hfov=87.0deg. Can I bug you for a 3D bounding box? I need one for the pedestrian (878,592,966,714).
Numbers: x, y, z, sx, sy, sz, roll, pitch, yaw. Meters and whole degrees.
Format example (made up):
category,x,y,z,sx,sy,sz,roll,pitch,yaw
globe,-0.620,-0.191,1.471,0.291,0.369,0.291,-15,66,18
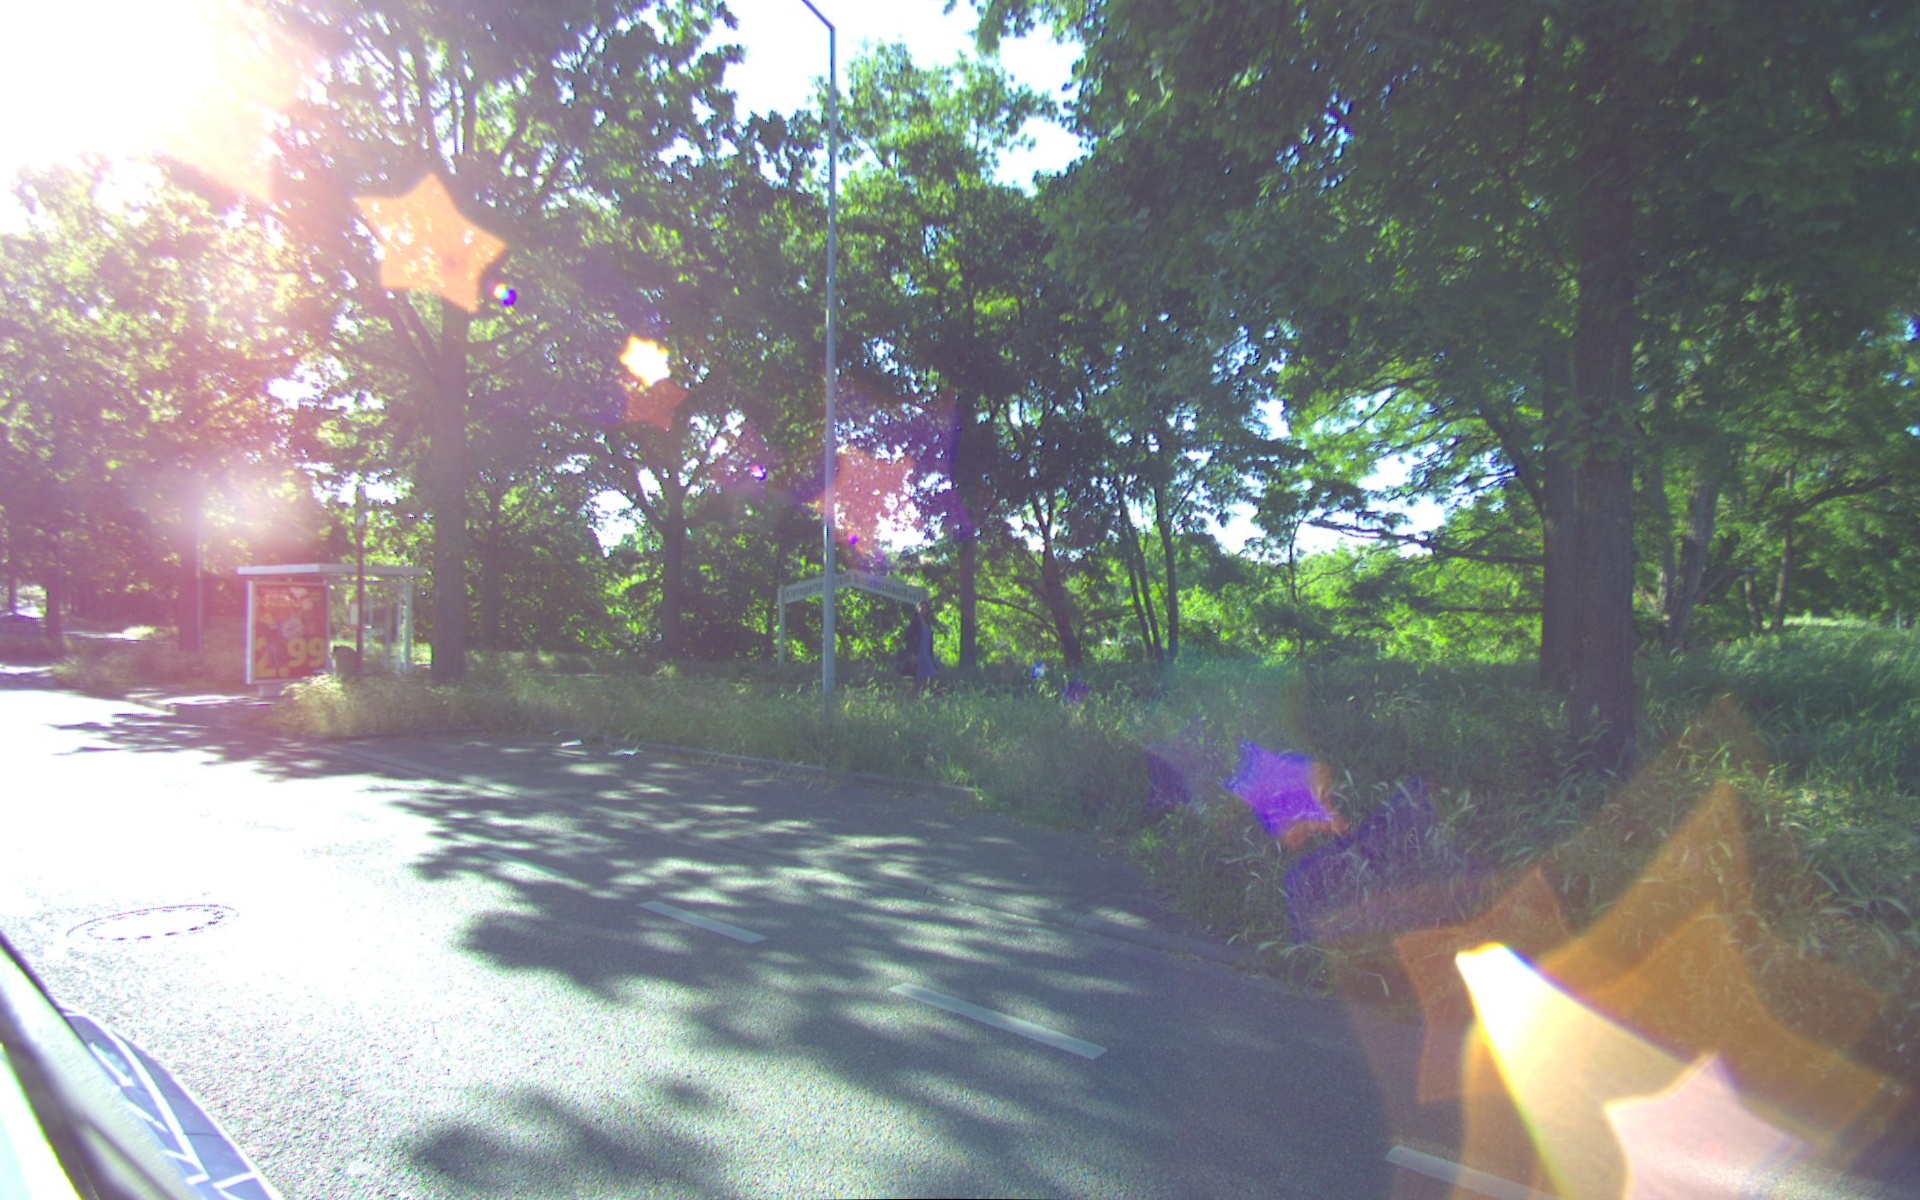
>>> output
category,x,y,z,sx,sy,sz,roll,pitch,yaw
pedestrian,-0.554,0.750,14.793,0.891,1.701,0.903,-2,-1,42
